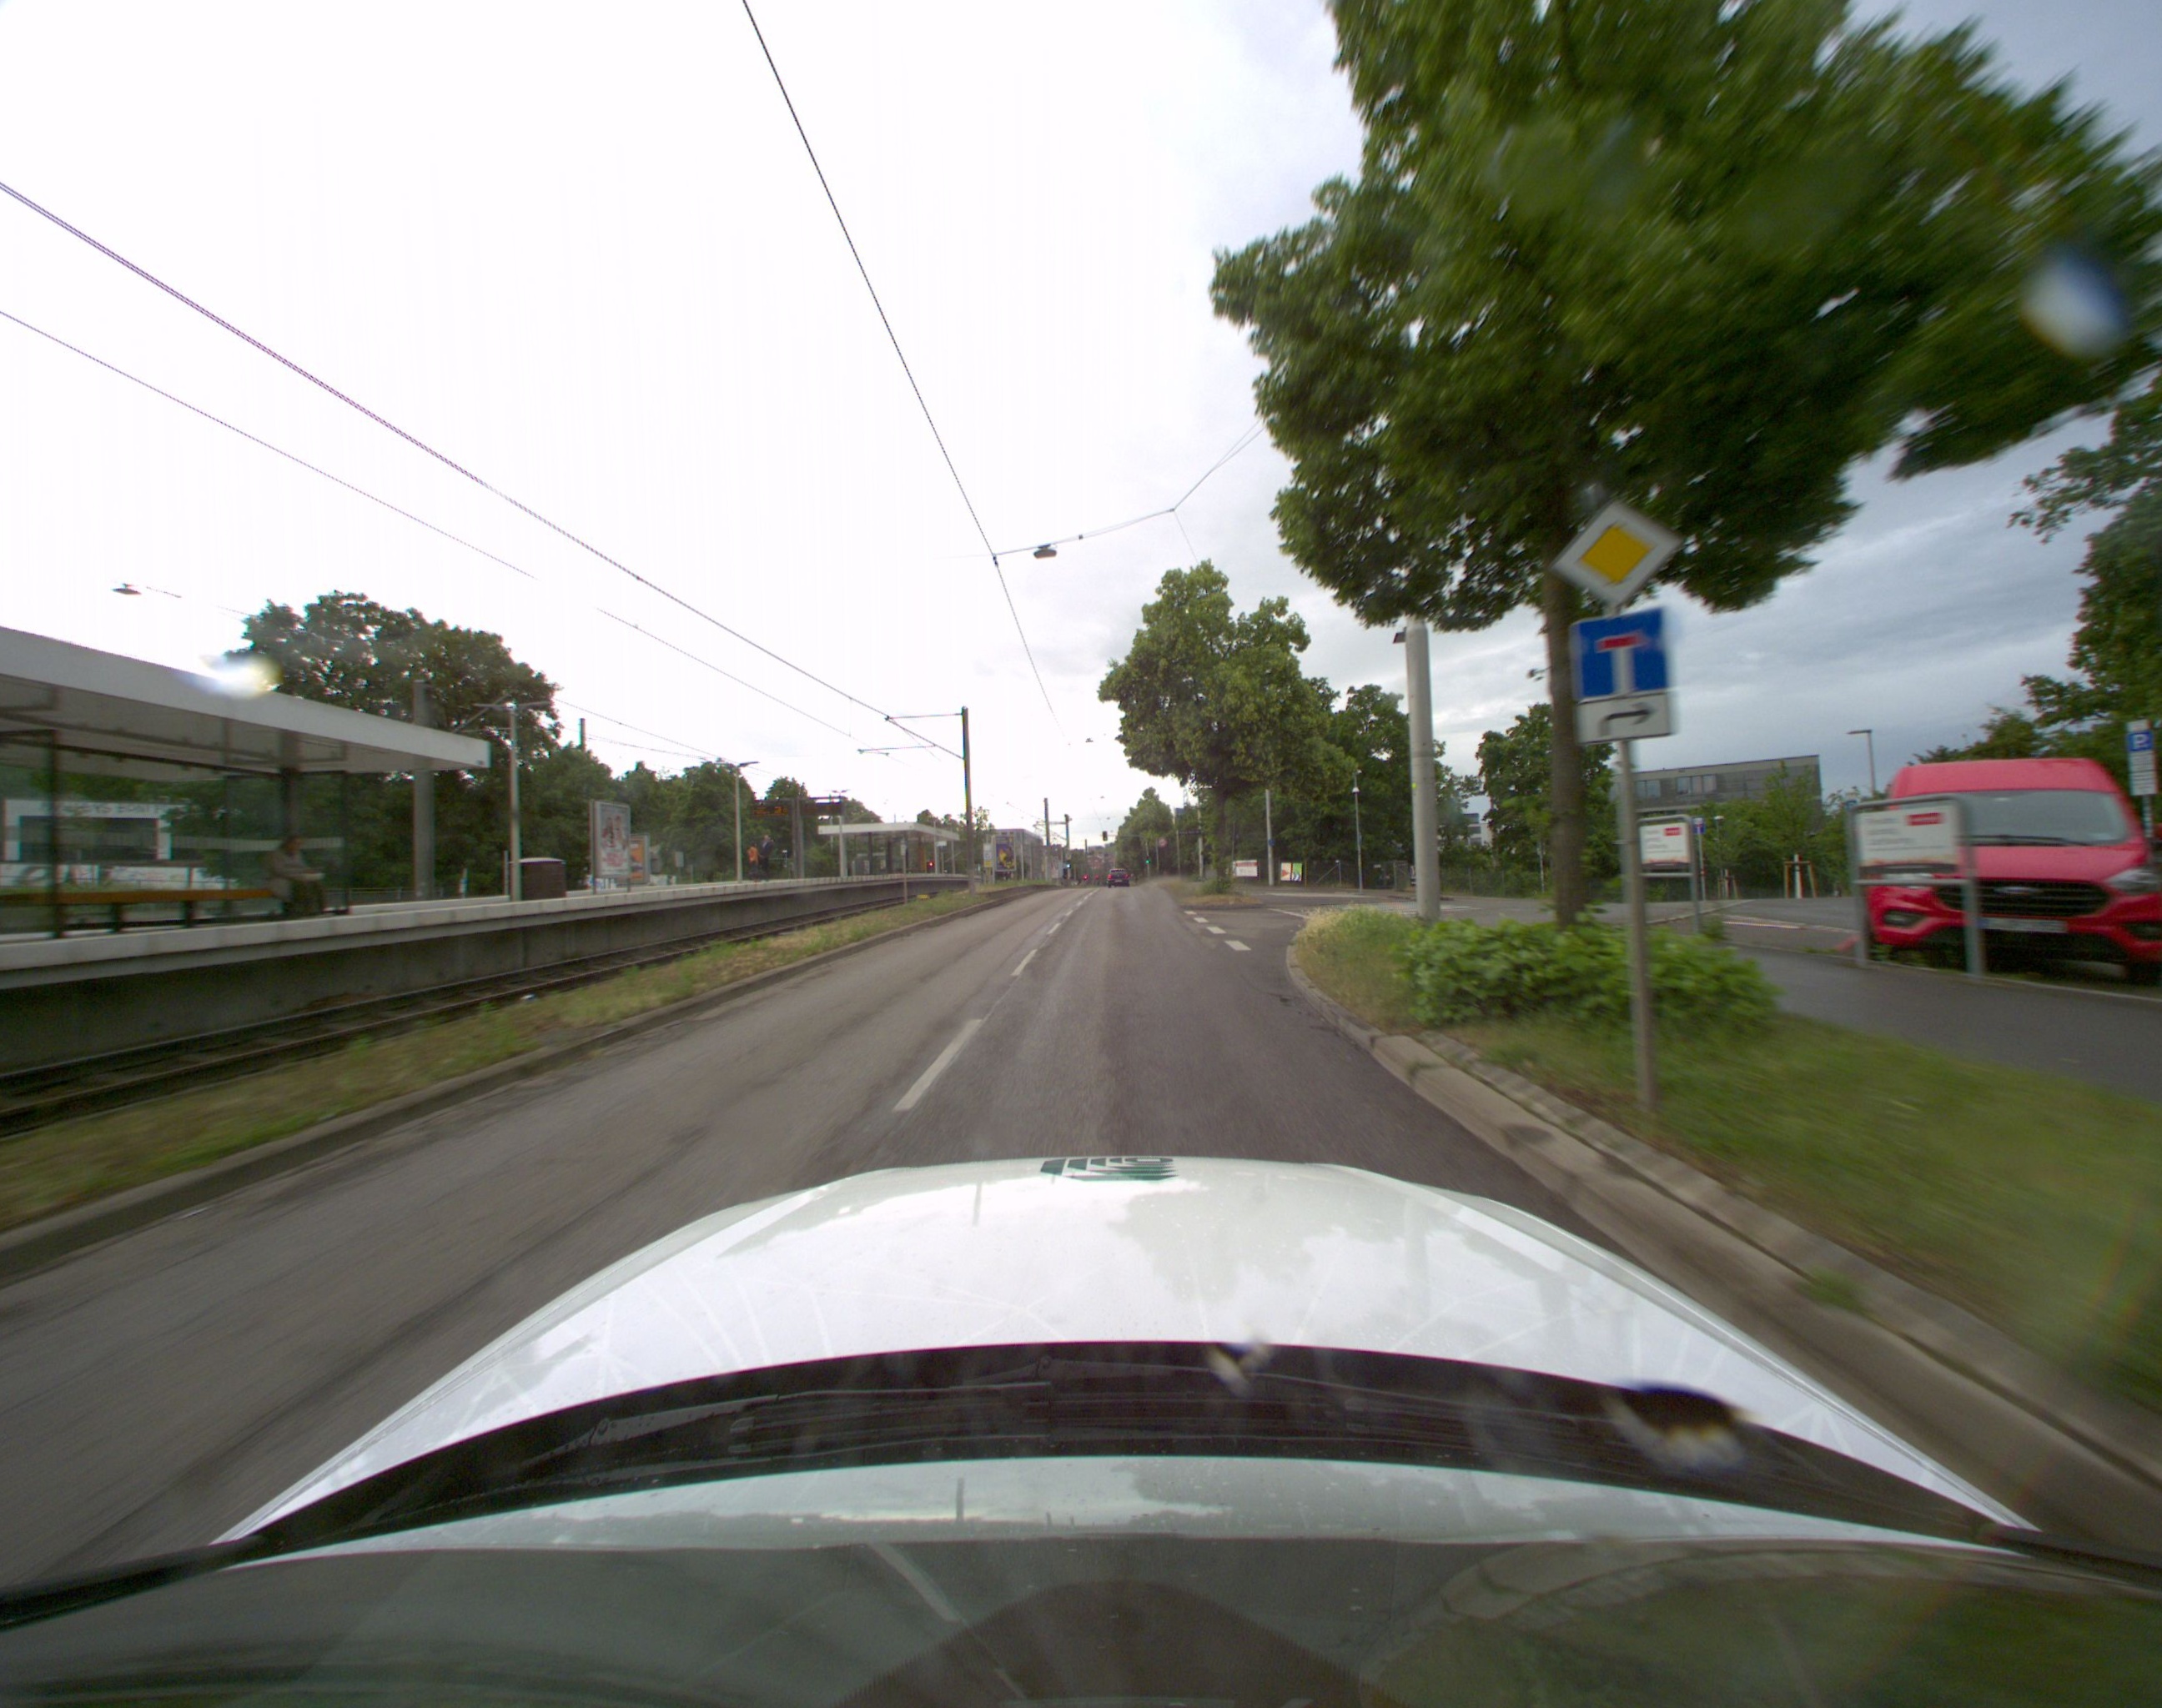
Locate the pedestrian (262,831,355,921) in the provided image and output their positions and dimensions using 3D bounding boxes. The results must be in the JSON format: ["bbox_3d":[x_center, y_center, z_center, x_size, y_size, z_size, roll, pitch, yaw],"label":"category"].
[{"bbox_3d":[-11.034,0.307,11.645,0.708,1.225,0.619,-2,0,1],"label":"pedestrian"}]

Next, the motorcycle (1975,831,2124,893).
[{"bbox_3d":[21.742,0.215,18.343,1.998,1.214,0.476,-6,-9,40],"label":"motorcycle"}]

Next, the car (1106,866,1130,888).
[{"bbox_3d":[2.893,1.776,63.649,1.720,1.540,4.001,-2,0,1],"label":"car"}]

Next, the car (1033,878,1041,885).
[{"bbox_3d":[-12.890,8.077,239.096,1.840,1.632,3.617,0,0,7],"label":"car"}]

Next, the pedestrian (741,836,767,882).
[{"bbox_3d":[-11.907,0.180,29.672,0.797,1.647,0.913,-1,1,-20],"label":"pedestrian"}]

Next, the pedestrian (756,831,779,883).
[{"bbox_3d":[-11.829,0.107,30.721,0.745,1.909,0.836,-1,1,-19],"label":"pedestrian"}]

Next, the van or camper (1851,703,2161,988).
[{"bbox_3d":[10.411,-0.044,9.431,2.016,2.406,5.423,2,0,45],"label":"van or camper"}]

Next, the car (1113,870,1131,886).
[{"bbox_3d":[4.333,2.570,86.743,1.681,1.517,4.001,-2,0,1],"label":"car"}]
